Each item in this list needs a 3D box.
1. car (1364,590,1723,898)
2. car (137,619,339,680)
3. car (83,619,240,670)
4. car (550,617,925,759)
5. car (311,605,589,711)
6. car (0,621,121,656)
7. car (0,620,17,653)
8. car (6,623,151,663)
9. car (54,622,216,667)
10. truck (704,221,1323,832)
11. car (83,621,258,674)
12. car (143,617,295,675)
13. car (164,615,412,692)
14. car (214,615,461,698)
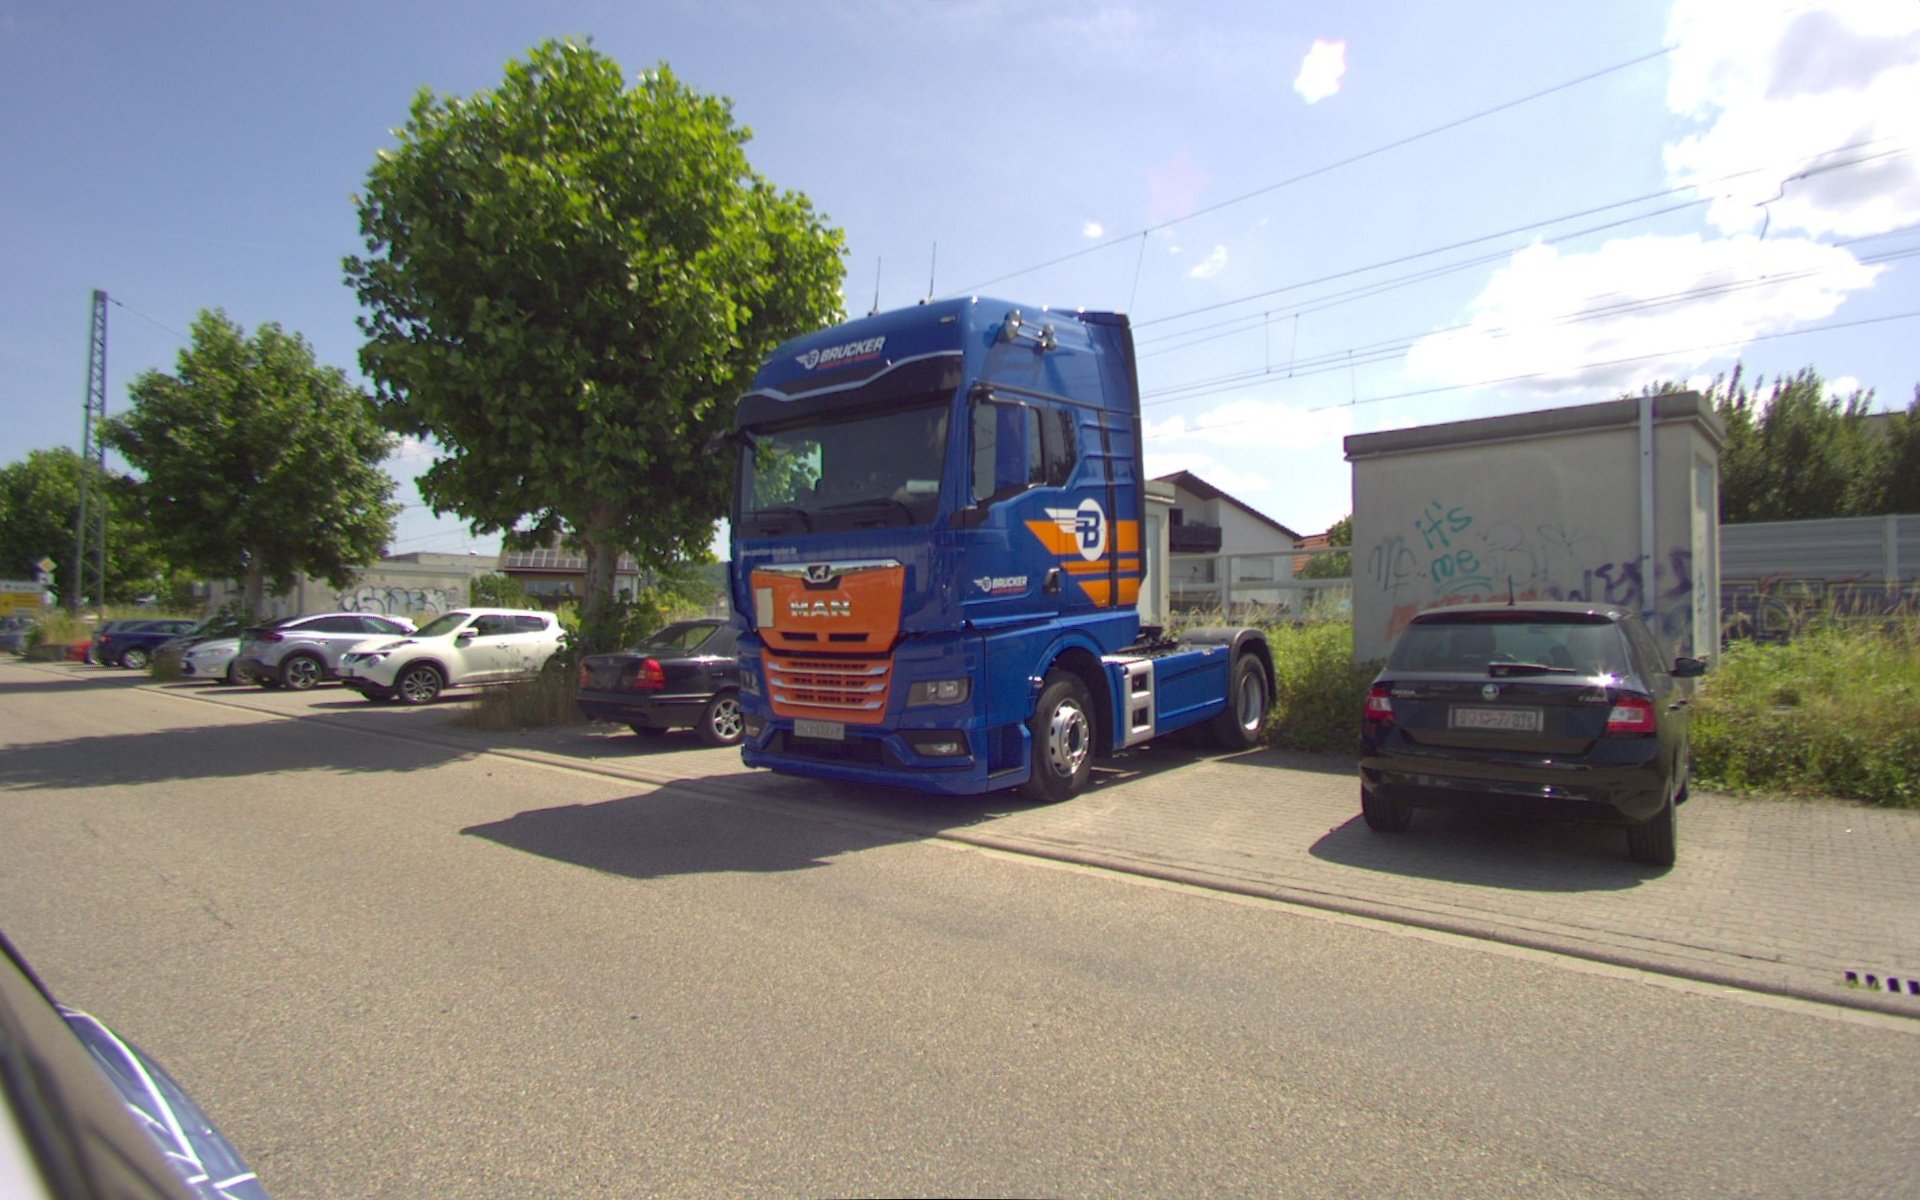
[{"bbox_3d":[4.205,0.780,7.009,1.697,1.511,3.608,1,-2,37],"label":"car"},{"bbox_3d":[-18.988,1.280,26.752,1.786,1.484,4.030,-1,-3,41],"label":"car"},{"bbox_3d":[-25.214,1.356,32.027,1.682,1.459,3.630,-2,-1,39],"label":"car"},{"bbox_3d":[-2.510,0.916,12.254,1.871,1.406,4.165,-1,-2,41],"label":"car"},{"bbox_3d":[-8.765,0.955,17.677,1.848,1.630,3.933,-2,-2,37],"label":"car"},{"bbox_3d":[-38.374,1.629,42.619,1.785,1.421,4.384,-1,-3,38],"label":"car"},{"bbox_3d":[-46.589,1.766,48.703,1.665,1.542,4.067,2,-3,-43],"label":"car"},{"bbox_3d":[-34.518,1.650,39.709,1.784,1.412,4.033,-1,-1,38],"label":"car"},{"bbox_3d":[-27.744,1.484,34.141,1.673,1.379,4.030,-3,-3,41],"label":"car"},{"bbox_3d":[1.038,-0.435,9.786,2.661,3.852,6.549,-1,-1,39],"label":"truck"},{"bbox_3d":[-23.348,1.364,30.019,1.788,1.461,3.900,-2,-2,45],"label":"car"},{"bbox_3d":[-21.050,1.281,28.820,1.600,1.550,3.156,-1,-2,39],"label":"car"},{"bbox_3d":[-14.986,1.131,22.761,1.925,1.544,4.294,-2,-2,40],"label":"car"},{"bbox_3d":[-12.876,1.097,21.119,1.998,1.559,3.948,-1,-2,39],"label":"car"}]
